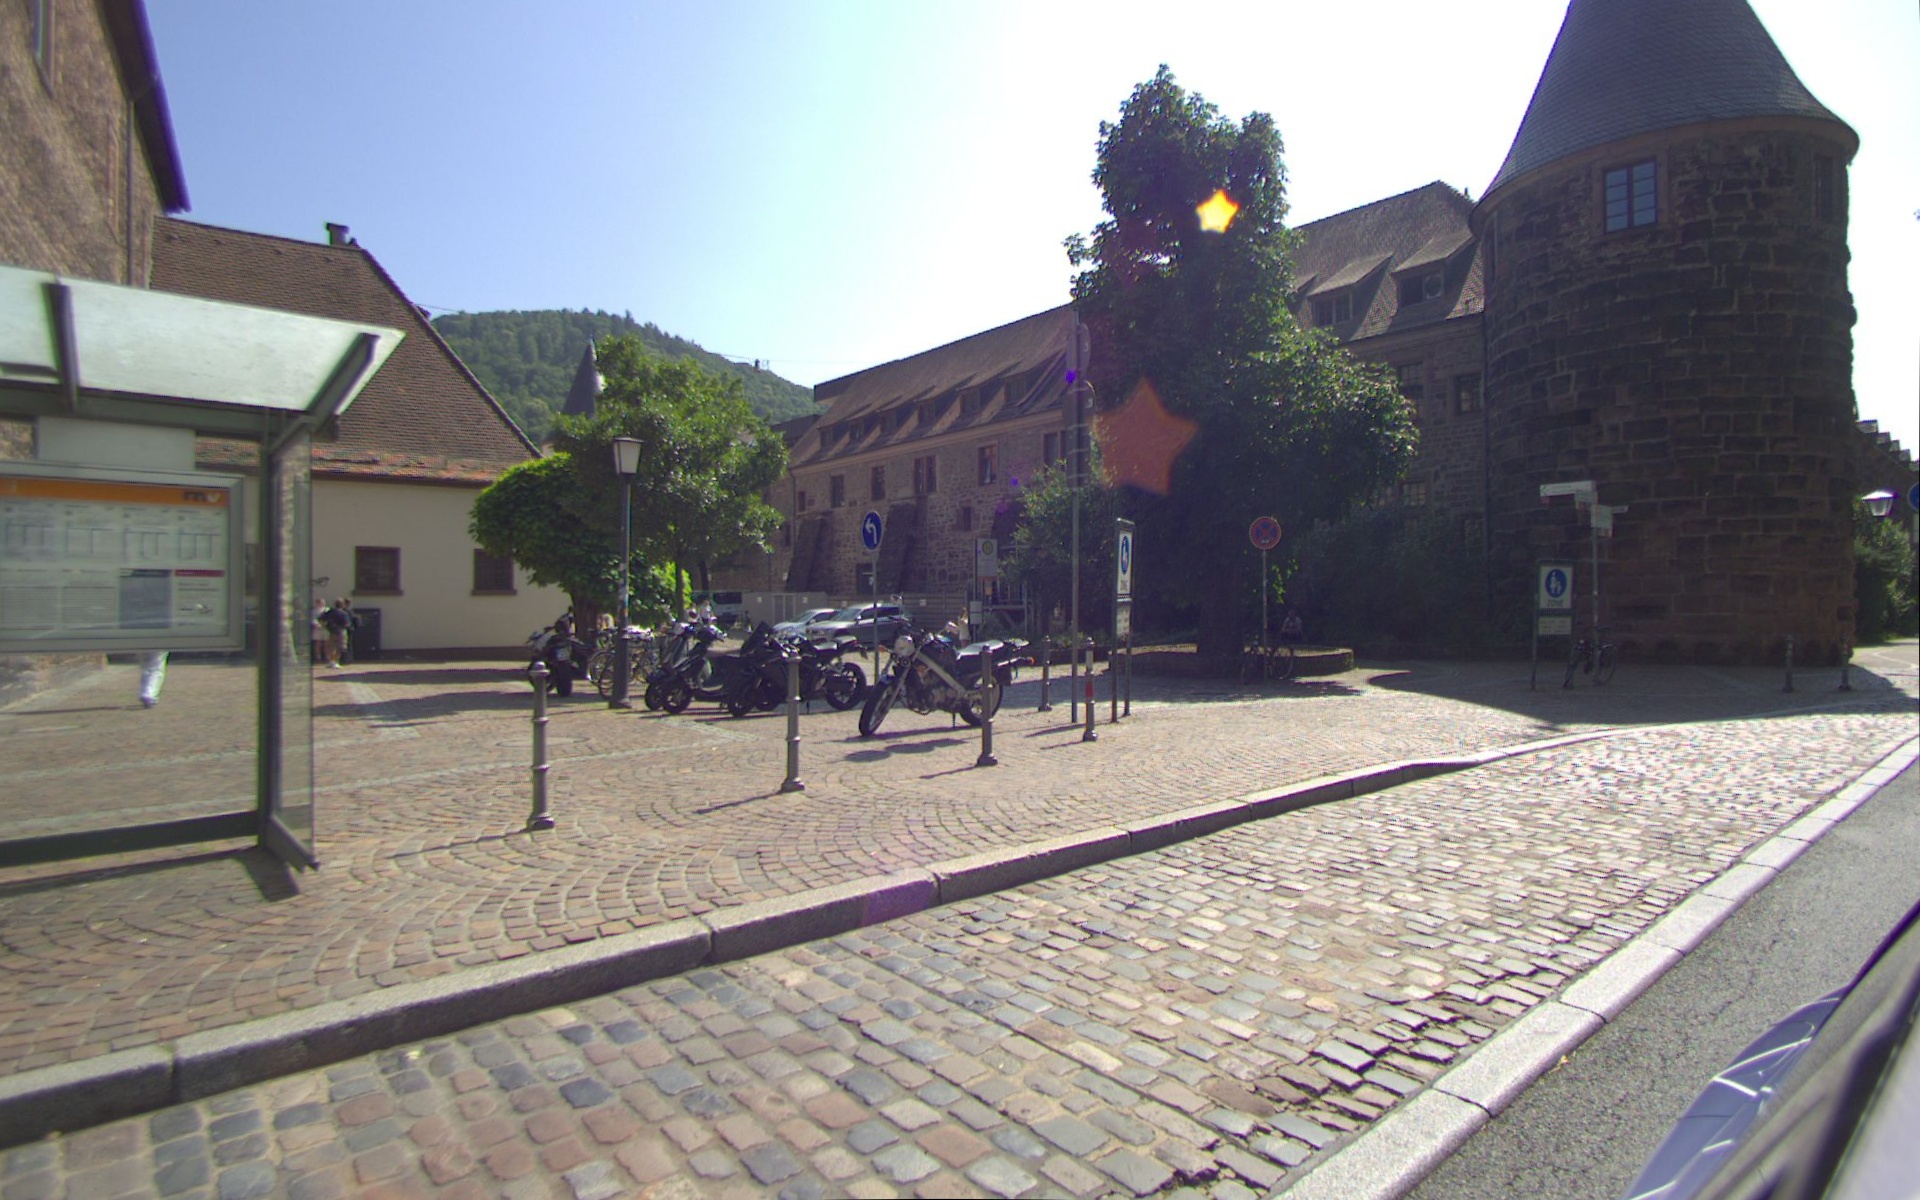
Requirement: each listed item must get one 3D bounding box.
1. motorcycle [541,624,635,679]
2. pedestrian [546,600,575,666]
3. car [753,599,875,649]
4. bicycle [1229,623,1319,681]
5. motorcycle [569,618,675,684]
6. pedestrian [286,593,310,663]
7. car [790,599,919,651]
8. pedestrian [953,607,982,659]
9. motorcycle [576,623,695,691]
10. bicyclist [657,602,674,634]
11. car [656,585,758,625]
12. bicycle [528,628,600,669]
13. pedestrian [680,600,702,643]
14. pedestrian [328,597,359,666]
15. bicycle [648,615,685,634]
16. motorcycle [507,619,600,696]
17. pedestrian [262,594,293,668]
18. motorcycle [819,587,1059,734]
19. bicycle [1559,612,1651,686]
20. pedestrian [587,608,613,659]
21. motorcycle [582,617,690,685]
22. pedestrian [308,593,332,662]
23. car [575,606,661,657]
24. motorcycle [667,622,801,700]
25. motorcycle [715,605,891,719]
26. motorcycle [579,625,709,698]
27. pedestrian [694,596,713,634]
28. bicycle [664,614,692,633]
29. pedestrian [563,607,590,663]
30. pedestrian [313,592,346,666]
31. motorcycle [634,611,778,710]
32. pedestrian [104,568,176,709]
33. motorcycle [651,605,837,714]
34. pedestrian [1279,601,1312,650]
[{"bbox_3d":[-8.323,1.131,22.705,0.597,1.175,1.887,-1,-2,44],"label":"motorcycle"},{"bbox_3d":[-10.910,0.889,27.612,0.594,1.763,0.661,0,-1,-35],"label":"pedestrian"},{"bbox_3d":[-5.756,0.905,40.175,4.346,1.636,1.999,-4,2,-37],"label":"car"},{"bbox_3d":[5.981,0.970,19.241,1.679,1.015,0.660,-1,-1,-31],"label":"bicycle"},{"bbox_3d":[-6.882,1.031,20.685,2.003,1.252,0.600,-1,-1,-14],"label":"motorcycle"},{"bbox_3d":[-16.211,0.687,24.776,0.444,1.688,0.359,0,-1,-41],"label":"pedestrian"},{"bbox_3d":[-3.896,0.874,37.640,4.346,1.636,1.999,-4,2,-37],"label":"car"},{"bbox_3d":[0.210,0.942,29.028,0.660,1.439,0.663,-2,0,-10],"label":"pedestrian"},{"bbox_3d":[-6.106,1.054,19.107,1.983,1.159,0.742,-1,-2,-38],"label":"motorcycle"},{"bbox_3d":[-14.429,0.889,49.619,0.621,1.564,0.647,0,0,5],"label":"bicyclist"},{"bbox_3d":[-14.430,0.237,57.927,5.298,2.149,1.998,-1,0,-39],"label":"car"},{"bbox_3d":[-10.177,1.240,26.055,0.421,1.027,1.687,-1,-2,44],"label":"bicycle"},{"bbox_3d":[-11.261,0.892,42.329,0.698,1.763,0.661,0,-1,-35],"label":"pedestrian"},{"bbox_3d":[-15.155,0.762,24.887,0.578,1.664,0.421,0,-1,-41],"label":"pedestrian"},{"bbox_3d":[-14.384,1.199,49.626,1.584,0.933,0.671,0,0,6],"label":"bicycle"},{"bbox_3d":[-6.816,0.933,16.905,0.861,1.162,2.343,-1,-1,-37],"label":"motorcycle"},{"bbox_3d":[-15.975,0.711,23.689,0.524,1.688,0.582,0,-1,-41],"label":"pedestrian"},{"bbox_3d":[-0.153,0.564,10.227,2.486,1.310,0.883,1,-3,-44],"label":"motorcycle"},{"bbox_3d":[11.186,0.817,17.524,1.812,1.167,0.844,-1,0,-41],"label":"bicycle"},{"bbox_3d":[-11.682,1.072,32.856,0.661,1.650,0.661,0,-1,-35],"label":"pedestrian"},{"bbox_3d":[-6.425,1.001,20.156,2.003,1.252,0.600,-1,-1,-15],"label":"motorcycle"},{"bbox_3d":[-15.888,0.681,25.134,0.444,1.688,0.359,0,-1,-41],"label":"pedestrian"},{"bbox_3d":[-11.937,1.046,35.202,1.765,1.549,4.144,-2,2,-34],"label":"car"},{"bbox_3d":[-3.543,0.923,15.956,1.874,1.108,0.875,-1,0,-44],"label":"motorcycle"},{"bbox_3d":[-1.905,0.717,12.573,2.180,1.252,0.658,-1,0,-44],"label":"motorcycle"},{"bbox_3d":[-4.990,0.944,16.078,1.897,1.095,0.630,1,-2,-44],"label":"motorcycle"},{"bbox_3d":[-12.146,0.718,47.924,0.649,1.763,0.711,0,-1,-35],"label":"pedestrian"},{"bbox_3d":[-14.171,1.158,50.878,1.604,0.933,0.582,0,0,40],"label":"bicycle"},{"bbox_3d":[-12.268,1.121,32.393,0.661,1.763,0.661,0,-1,-35],"label":"pedestrian"},{"bbox_3d":[-14.673,0.670,23.540,0.572,1.688,0.532,0,-1,-41],"label":"pedestrian"},{"bbox_3d":[-3.409,0.785,13.653,1.774,1.247,0.671,0,-2,-38],"label":"motorcycle"},{"bbox_3d":[-11.293,0.508,13.934,0.747,1.869,0.797,0,-1,-41],"label":"pedestrian"},{"bbox_3d":[-2.742,0.714,13.024,2.230,1.252,0.740,-1,0,-38],"label":"motorcycle"},{"bbox_3d":[8.717,0.656,26.312,0.661,1.247,0.774,-1,-1,30],"label":"pedestrian"}]
